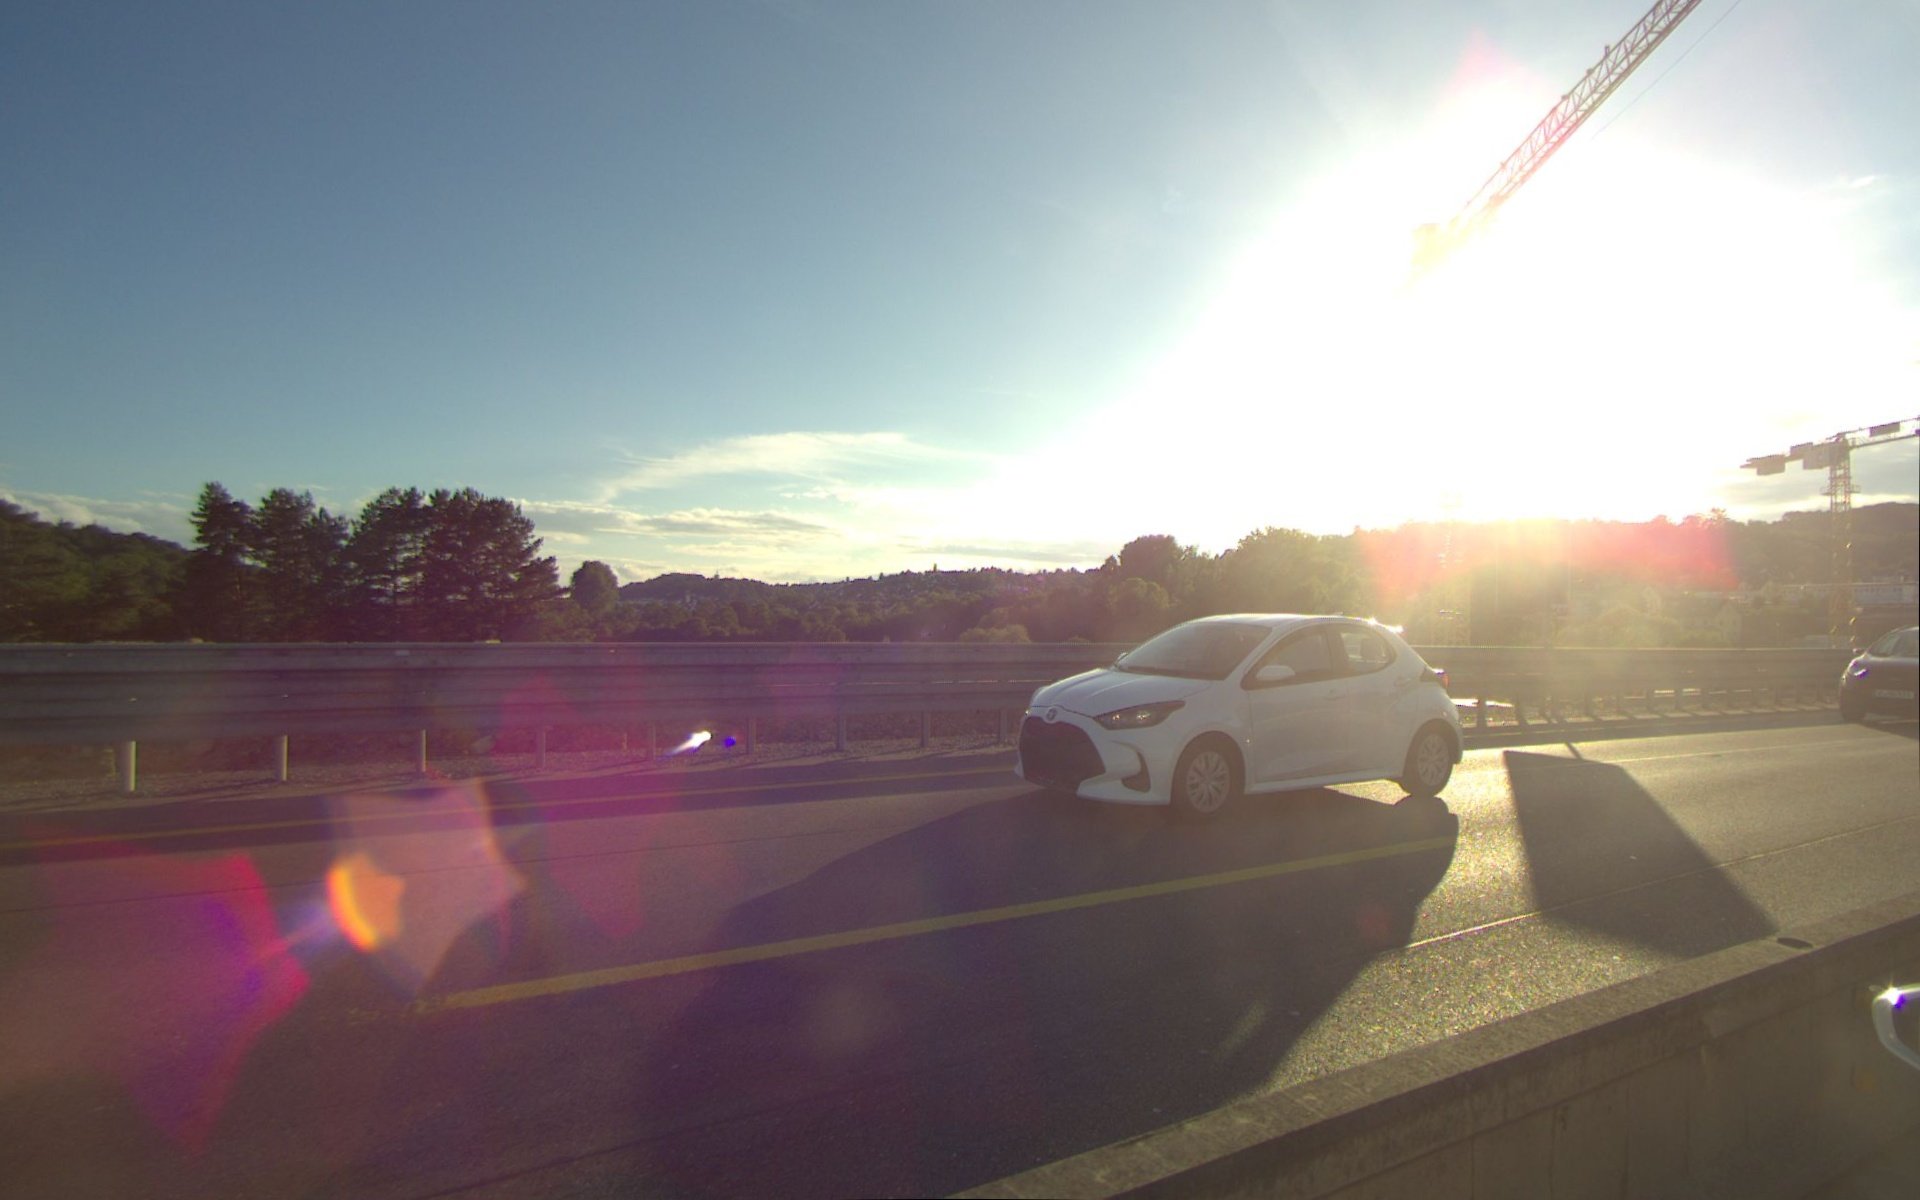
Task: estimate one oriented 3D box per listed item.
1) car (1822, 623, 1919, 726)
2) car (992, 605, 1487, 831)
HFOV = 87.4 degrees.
[{"bbox_3d":[16.392,1.197,16.878,3.954,1.592,1.771,1,-1,-31],"label":"car"},{"bbox_3d":[2.375,0.807,8.266,3.954,1.465,1.692,1,-1,-31],"label":"car"}]
